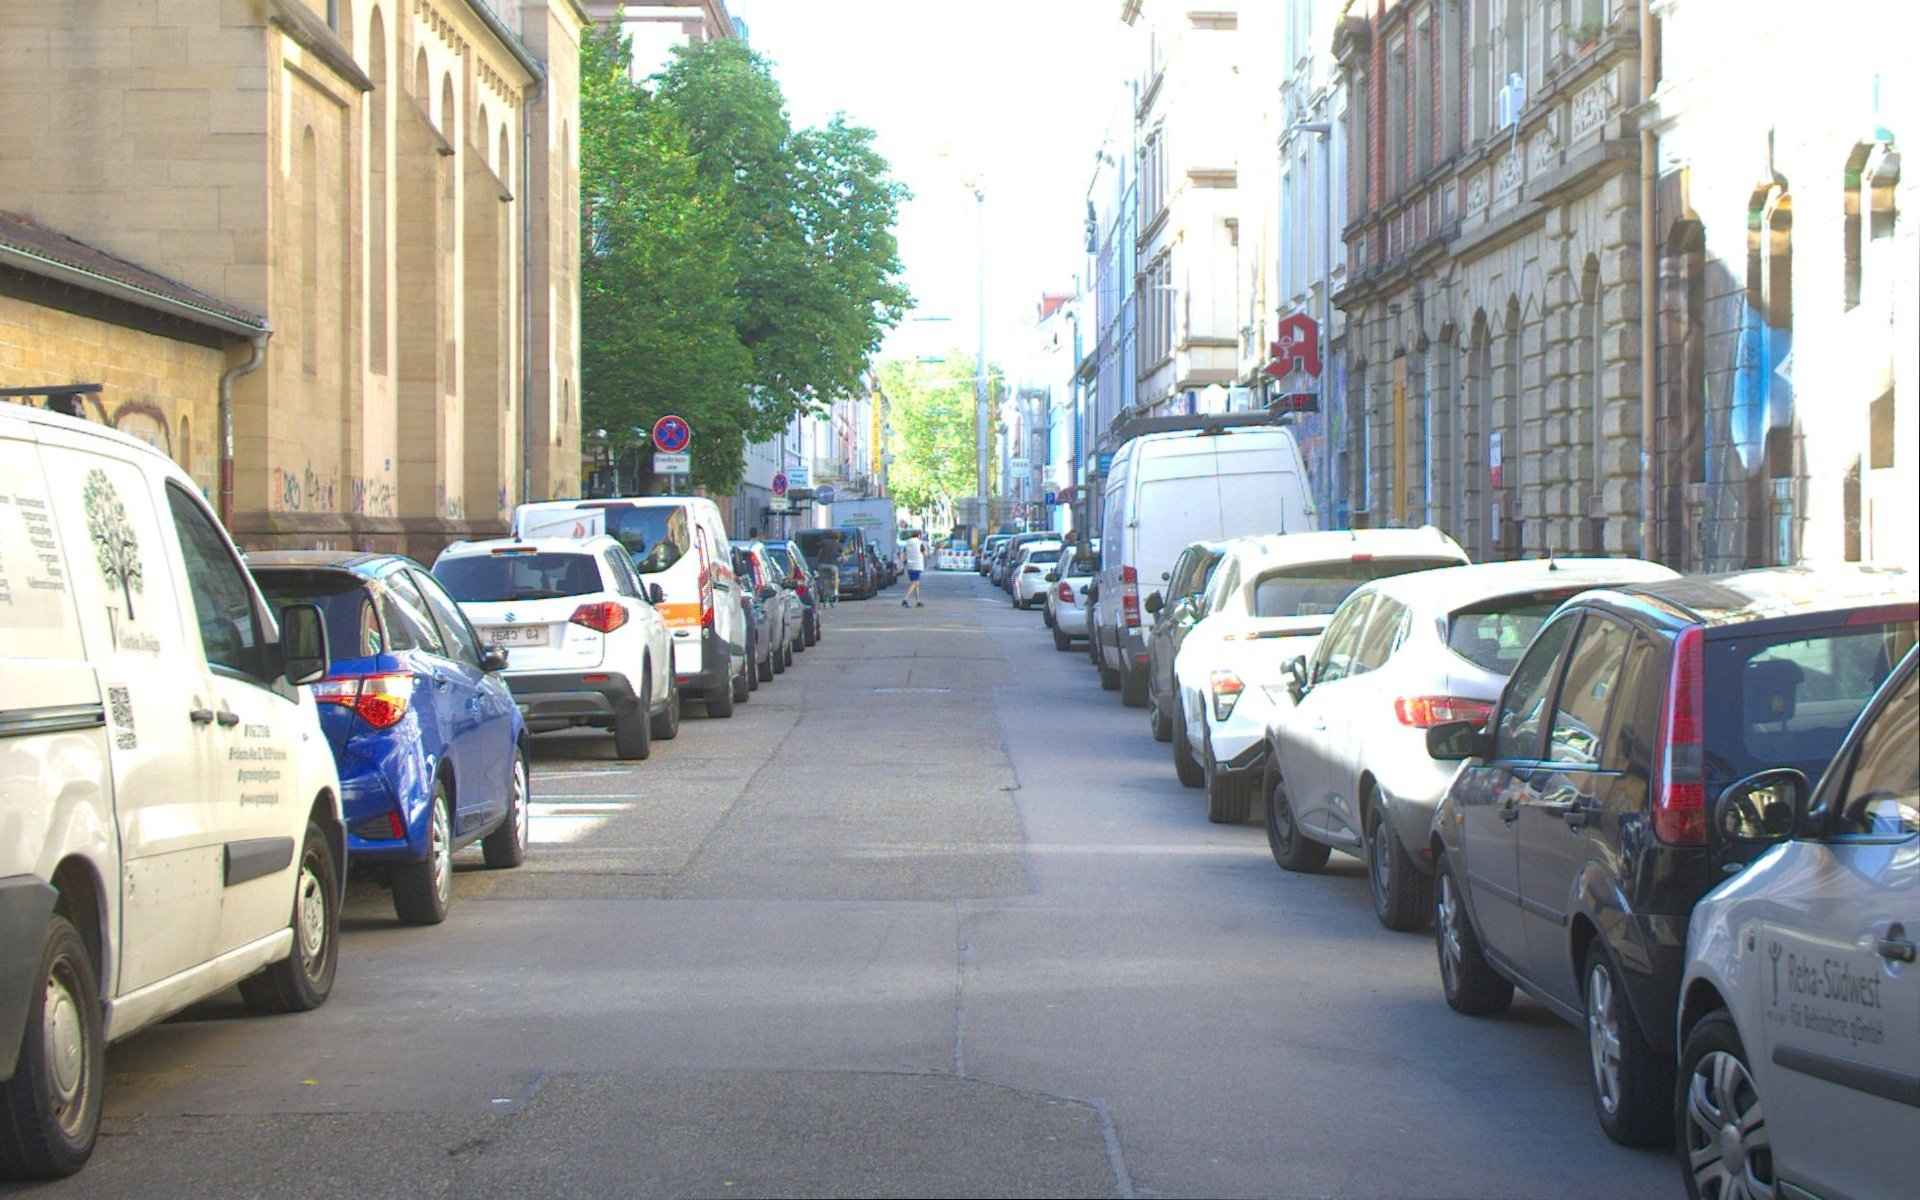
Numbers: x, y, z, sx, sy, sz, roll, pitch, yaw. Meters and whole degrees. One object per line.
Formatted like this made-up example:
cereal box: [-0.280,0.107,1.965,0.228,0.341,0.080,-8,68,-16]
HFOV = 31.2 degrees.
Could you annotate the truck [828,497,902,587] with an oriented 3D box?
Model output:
truck: [-3.545,-2.189,129.946,2.532,3.270,6.995,0,1,0]

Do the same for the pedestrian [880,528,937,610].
pedestrian: [-1.181,-0.706,78.423,1.008,1.837,0.785,0,1,-29]

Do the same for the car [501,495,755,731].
car: [-2.940,0.074,31.329,1.864,1.950,4.610,-1,1,-1]

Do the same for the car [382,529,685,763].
car: [-3.080,0.282,25.489,1.742,1.581,3.869,1,1,0]

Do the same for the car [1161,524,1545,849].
car: [2.242,0.448,20.649,1.808,1.684,4.214,2,0,1]

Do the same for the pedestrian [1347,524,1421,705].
pedestrian: [4.213,0.140,34.230,0.640,1.766,0.678,2,0,4]

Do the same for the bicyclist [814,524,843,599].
bicyclist: [-2.957,-0.879,77.535,0.605,1.682,0.885,0,1,0]

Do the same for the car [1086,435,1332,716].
car: [2.441,-0.290,35.199,2.068,2.602,5.888,1,1,0]

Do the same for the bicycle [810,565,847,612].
bicycle: [-2.956,-0.263,77.530,0.739,1.040,1.859,0,1,0]

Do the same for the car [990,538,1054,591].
car: [2.035,-1.181,113.313,1.993,1.626,4.000,3,1,0]

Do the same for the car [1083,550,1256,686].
car: [2.471,0.175,41.381,1.779,1.481,4.360,2,1,0]

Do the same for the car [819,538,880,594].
car: [-3.628,-1.130,113.415,1.875,1.790,4.000,0,1,0]

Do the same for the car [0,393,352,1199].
car: [-3.042,0.419,9.539,1.845,1.856,4.465,0,1,1]

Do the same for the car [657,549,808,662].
car: [-3.052,0.048,46.780,1.570,1.393,3.808,-3,1,3]

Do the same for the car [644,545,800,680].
car: [-2.867,0.117,42.059,1.673,1.553,4.000,-1,1,-1]

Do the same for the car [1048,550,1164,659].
car: [2.132,0.034,51.076,1.604,1.499,4.000,2,1,1]

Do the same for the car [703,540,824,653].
car: [-2.956,-0.077,52.343,1.600,1.608,3.808,-2,1,-1]

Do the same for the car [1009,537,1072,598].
car: [2.325,-0.960,100.108,1.769,1.735,4.000,0,1,0]

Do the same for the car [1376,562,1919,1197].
car: [2.290,0.661,10.233,1.535,1.508,3.682,0,1,-2]

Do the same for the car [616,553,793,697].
car: [-2.759,0.237,37.850,1.615,1.447,3.950,-1,1,0]

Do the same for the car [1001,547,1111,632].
car: [1.722,-0.213,62.550,1.716,1.483,3.870,0,1,-3]

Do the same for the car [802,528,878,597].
car: [-3.174,-1.010,91.606,1.875,1.790,4.000,0,1,0]

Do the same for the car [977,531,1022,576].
car: [1.782,-2.107,156.054,1.993,2.007,4.000,0,1,0]

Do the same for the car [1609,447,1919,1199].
car: [2.398,0.594,5.891,1.703,1.708,3.938,0,1,-2]

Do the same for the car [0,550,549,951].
car: [-2.883,0.547,15.065,1.687,1.471,3.860,-2,1,0]

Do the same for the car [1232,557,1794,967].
car: [2.319,0.613,15.383,1.572,1.520,3.909,3,1,-4]

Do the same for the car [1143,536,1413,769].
car: [2.357,0.340,26.336,1.687,1.637,3.924,1,1,0]

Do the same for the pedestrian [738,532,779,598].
pedestrian: [-4.982,-0.872,85.092,0.929,1.631,0.806,0,1,1]

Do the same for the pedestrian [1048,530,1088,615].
pedestrian: [2.341,-0.597,74.491,0.681,1.837,0.695,1,1,-11]

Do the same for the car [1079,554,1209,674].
car: [2.446,0.163,46.313,1.570,1.490,3.653,2,1,1]

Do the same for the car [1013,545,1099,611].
car: [2.200,-0.524,79.576,1.897,1.483,3.869,0,1,0]
